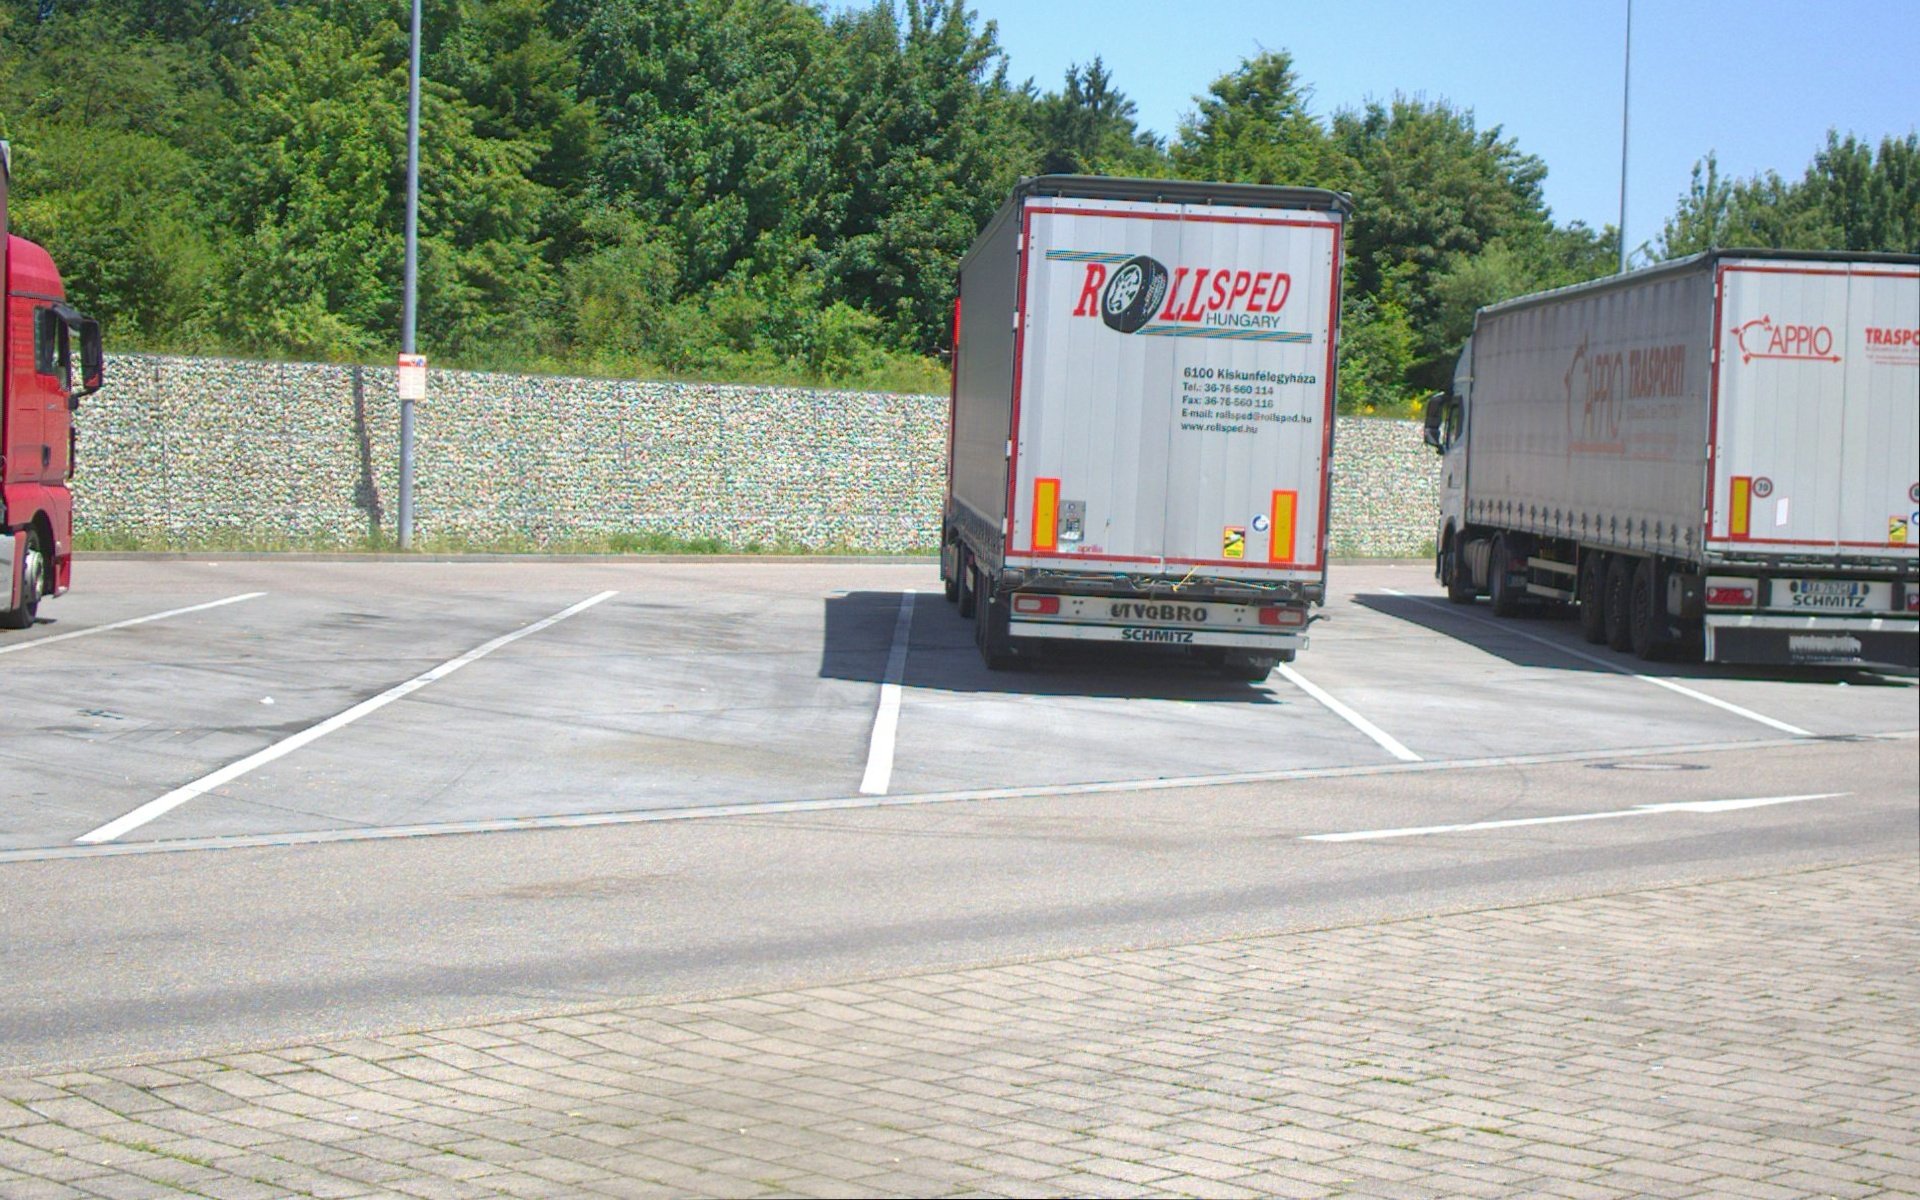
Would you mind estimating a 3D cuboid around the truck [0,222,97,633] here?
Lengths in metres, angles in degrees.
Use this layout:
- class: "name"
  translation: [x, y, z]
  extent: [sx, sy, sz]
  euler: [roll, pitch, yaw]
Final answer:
- class: "truck"
  translation: [-9.248, -1.455, 28.183]
  extent: [2.812, 3.351, 5.975]
  euler: [2, 3, -1]

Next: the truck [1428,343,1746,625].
- class: "truck"
  translation: [8.087, -1.566, 45.127]
  extent: [2.865, 3.351, 5.975]
  euler: [2, 3, -1]

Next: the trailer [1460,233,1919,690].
- class: "trailer"
  translation: [8.190, -1.586, 38.361]
  extent: [2.858, 4.095, 13.765]
  euler: [2, 3, -1]

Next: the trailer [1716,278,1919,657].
- class: "trailer"
  translation: [11.787, -1.502, 39.374]
  extent: [2.858, 4.095, 13.765]
  euler: [2, 3, -1]

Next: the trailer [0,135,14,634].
- class: "trailer"
  translation: [-9.160, -1.465, 21.364]
  extent: [2.821, 4.057, 13.765]
  euler: [2, 3, -1]

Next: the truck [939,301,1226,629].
- class: "truck"
  translation: [1.277, -1.571, 39.308]
  extent: [2.865, 3.351, 5.975]
  euler: [2, 3, -1]

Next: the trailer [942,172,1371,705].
- class: "trailer"
  translation: [1.462, -1.566, 33.106]
  extent: [2.858, 3.958, 13.765]
  euler: [2, 3, -1]
